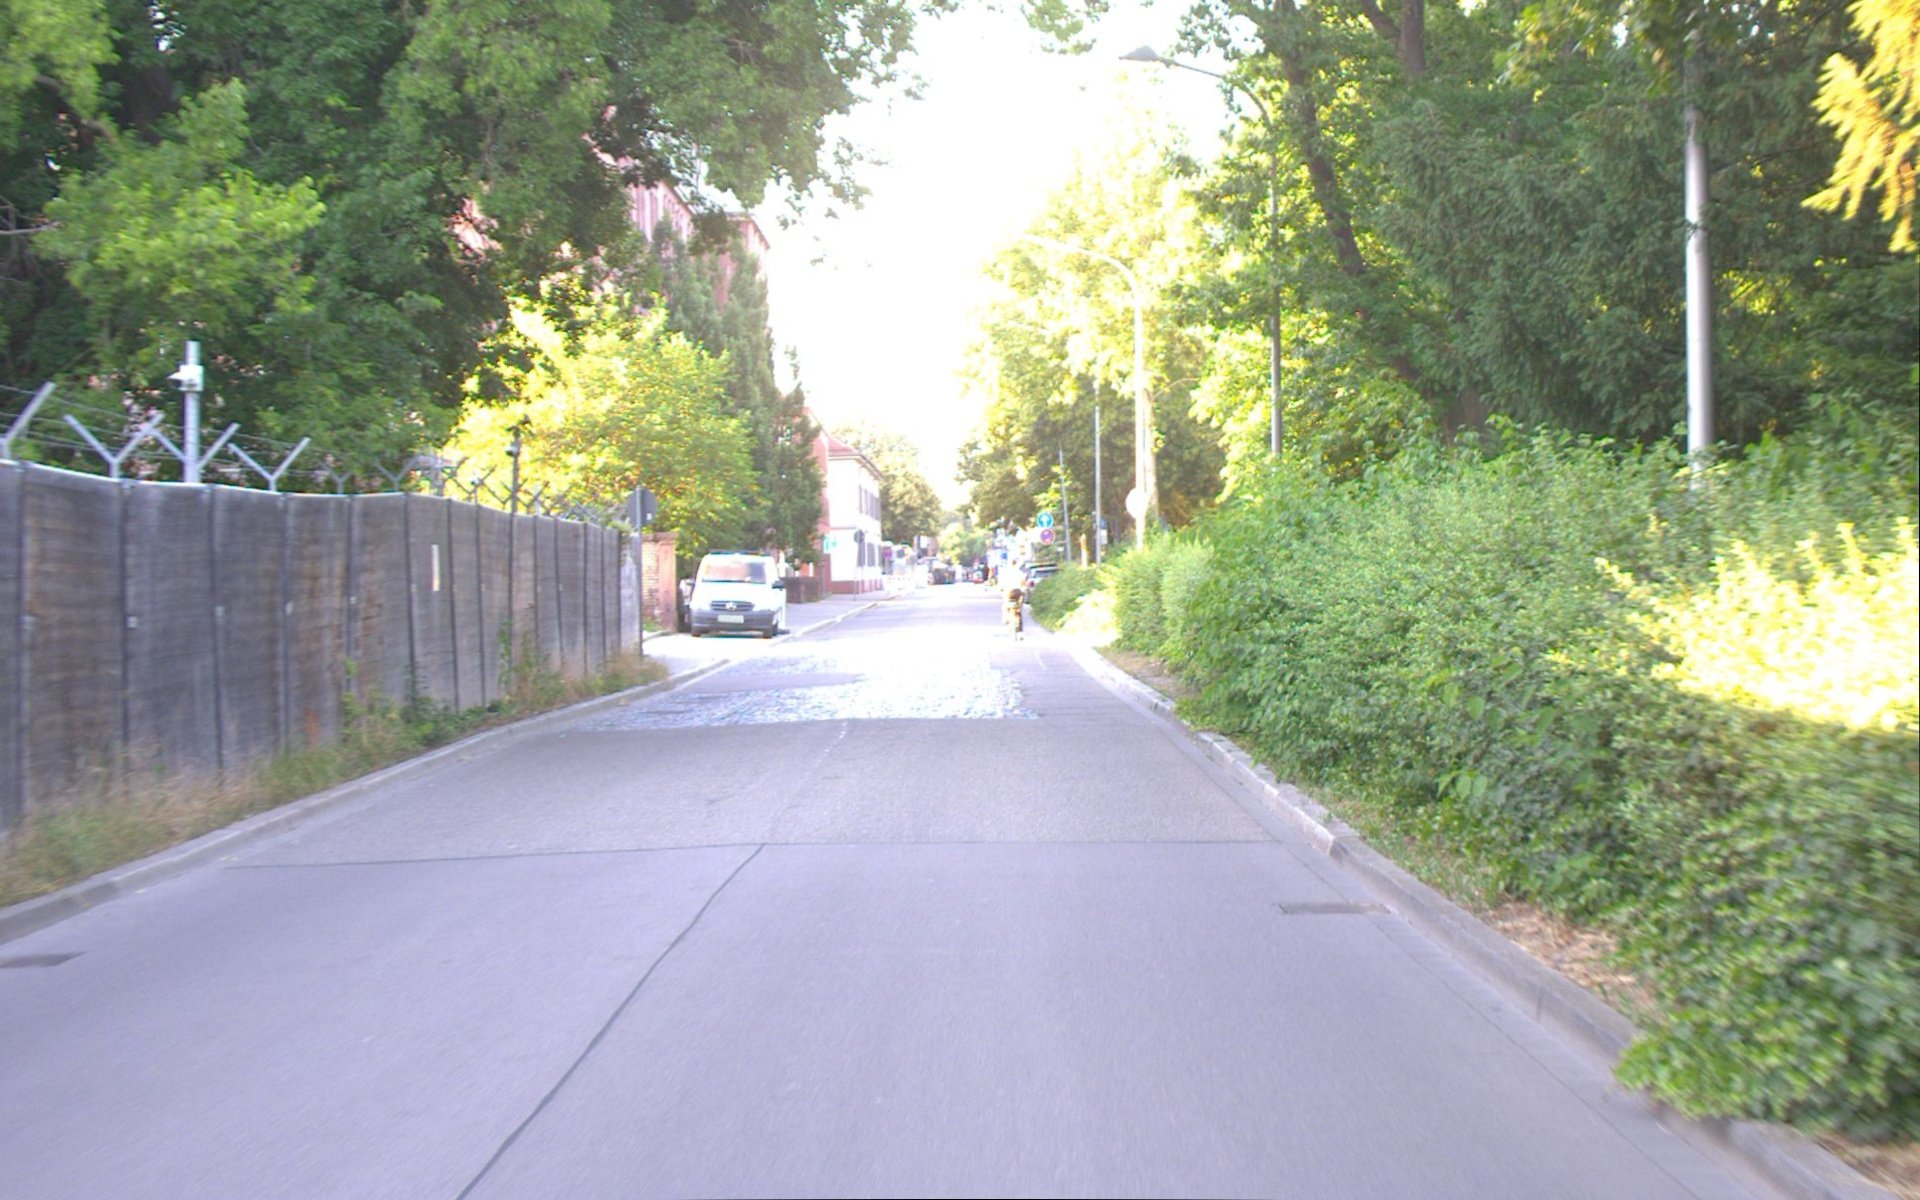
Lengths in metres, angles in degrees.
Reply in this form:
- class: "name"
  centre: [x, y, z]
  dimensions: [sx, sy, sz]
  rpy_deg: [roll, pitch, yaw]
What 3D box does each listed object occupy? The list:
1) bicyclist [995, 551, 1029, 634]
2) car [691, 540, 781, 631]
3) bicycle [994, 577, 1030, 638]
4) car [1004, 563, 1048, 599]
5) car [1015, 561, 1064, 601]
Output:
- class: "bicyclist"
  centre: [1.048, -0.157, 69.063]
  dimensions: [0.639, 1.662, 0.843]
  rpy_deg: [0, 0, -2]
- class: "car"
  centre: [-5.159, -0.307, 79.711]
  dimensions: [1.882, 2.007, 5.226]
  rpy_deg: [1, -1, -2]
- class: "bicycle"
  centre: [1.045, 0.139, 69.012]
  dimensions: [0.638, 1.189, 1.876]
  rpy_deg: [0, 0, -2]
- class: "car"
  centre: [2.914, -0.853, 152.696]
  dimensions: [1.715, 1.532, 4.049]
  rpy_deg: [-2, 0, -2]
- class: "car"
  centre: [3.202, -0.763, 139.093]
  dimensions: [1.685, 1.442, 3.672]
  rpy_deg: [-4, 0, -2]
